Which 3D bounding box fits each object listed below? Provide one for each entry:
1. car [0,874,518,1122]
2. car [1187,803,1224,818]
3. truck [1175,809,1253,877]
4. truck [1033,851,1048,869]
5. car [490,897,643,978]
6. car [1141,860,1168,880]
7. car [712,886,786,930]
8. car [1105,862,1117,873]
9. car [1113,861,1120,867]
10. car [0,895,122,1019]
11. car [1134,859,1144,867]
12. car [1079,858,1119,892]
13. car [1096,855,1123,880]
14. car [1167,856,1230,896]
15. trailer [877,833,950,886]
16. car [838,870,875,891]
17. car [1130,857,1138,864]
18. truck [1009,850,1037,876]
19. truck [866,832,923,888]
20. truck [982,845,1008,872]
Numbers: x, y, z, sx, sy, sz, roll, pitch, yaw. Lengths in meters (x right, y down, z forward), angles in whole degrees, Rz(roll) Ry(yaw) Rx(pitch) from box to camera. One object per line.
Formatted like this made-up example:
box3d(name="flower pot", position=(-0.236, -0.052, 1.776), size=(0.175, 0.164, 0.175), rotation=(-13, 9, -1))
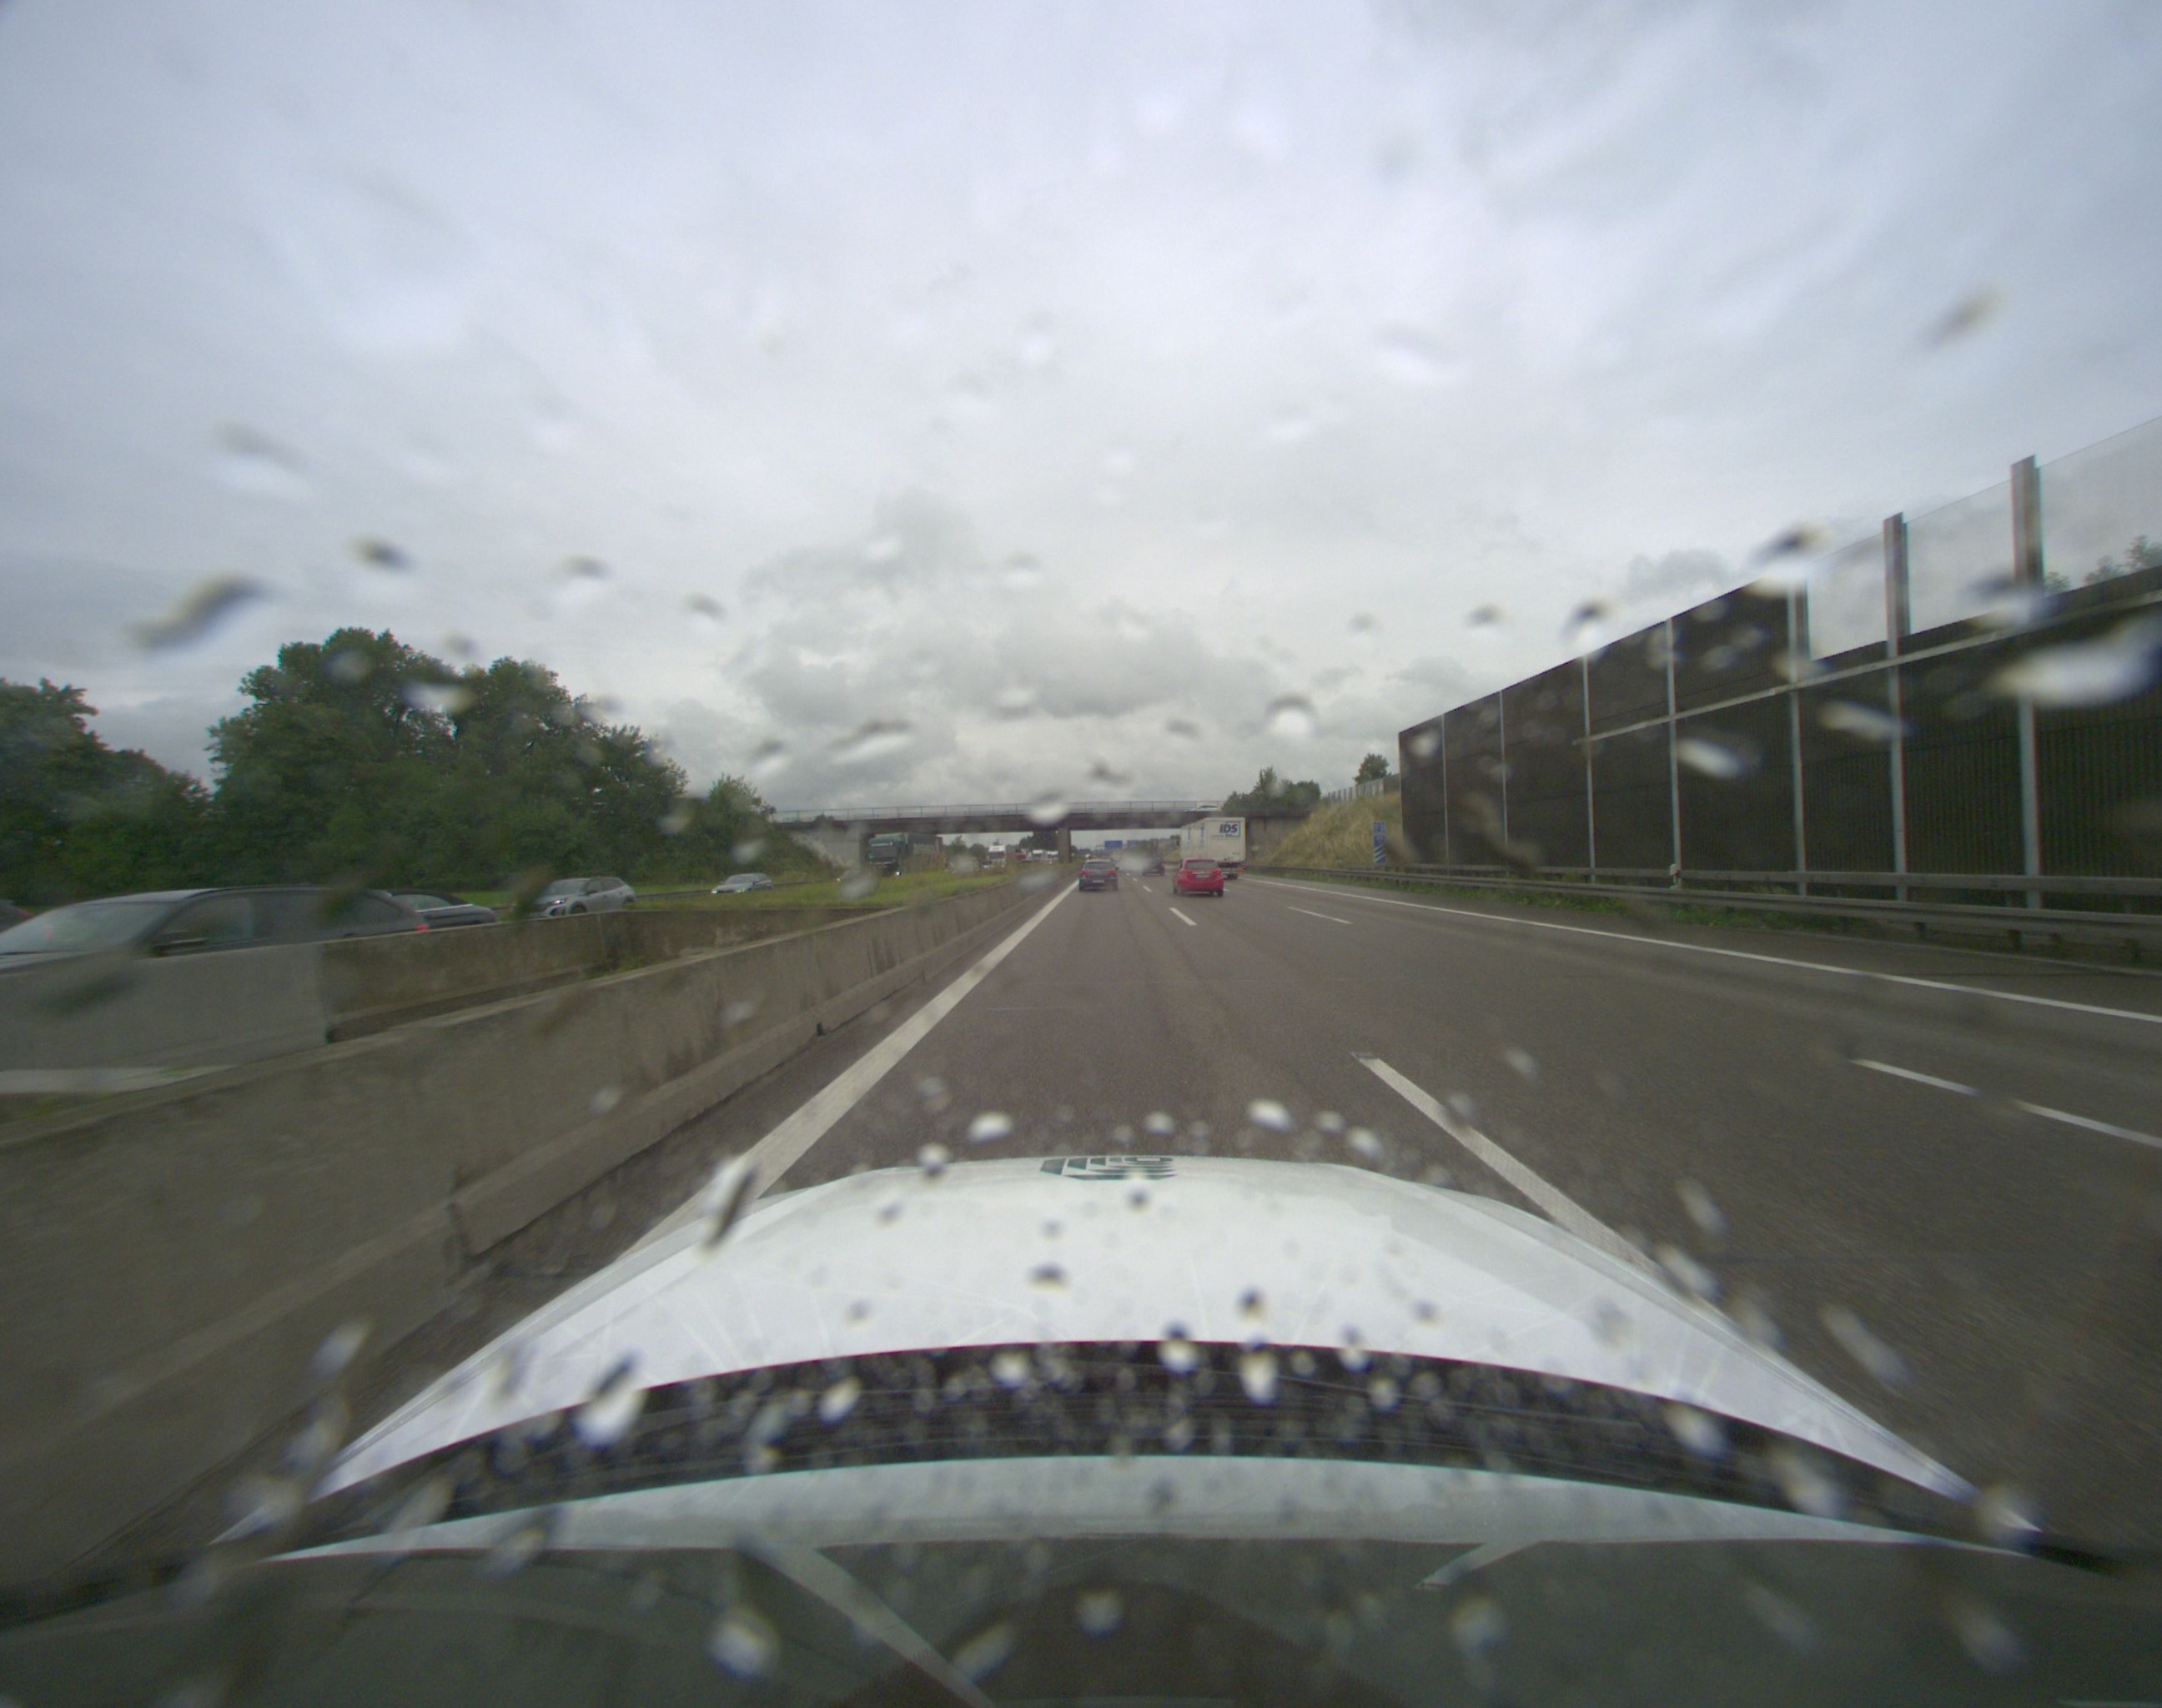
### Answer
box3d(name="car", position=(-8.167, 1.188, 8.371), size=(1.807, 1.816, 4.002), rotation=(-3, 0, 2))
box3d(name="car", position=(14.752, -5.098, 96.370), size=(3.989, 1.618, 1.872), rotation=(0, -1, -12))
box3d(name="truck", position=(9.506, -0.578, 61.101), size=(3.271, 4.295, 19.037), rotation=(0, -1, 1))
box3d(name="truck", position=(-9.963, 1.586, 200.919), size=(2.965, 4.319, 9.673), rotation=(0, -1, 2))
box3d(name="car", position=(-15.614, 2.458, 25.004), size=(1.986, 2.013, 4.002), rotation=(-3, 0, 2))
box3d(name="car", position=(5.929, 1.285, 66.499), size=(1.914, 1.522, 4.624), rotation=(-1, 0, 2))
box3d(name="car", position=(-17.726, 2.810, 43.773), size=(1.814, 1.970, 5.257), rotation=(-3, 0, -2))
box3d(name="car", position=(4.688, 2.132, 129.347), size=(1.699, 1.796, 3.854), rotation=(-3, -1, 0))
box3d(name="car", position=(11.384, 3.309, 262.221), size=(1.986, 2.014, 4.243), rotation=(0, -1, 2))
box3d(name="car", position=(-16.590, 1.525, 10.650), size=(2.085, 1.710, 4.965), rotation=(-1, 0, 3))
box3d(name="car", position=(12.112, 1.961, 169.734), size=(1.839, 1.687, 4.000), rotation=(0, -1, 1))
box3d(name="car", position=(0.821, 0.929, 37.338), size=(1.762, 1.467, 4.001), rotation=(0, -1, 1))
box3d(name="car", position=(2.312, 1.055, 66.219), size=(1.986, 1.861, 4.002), rotation=(-3, 0, 2))
box3d(name="car", position=(4.615, 0.835, 32.689), size=(1.884, 1.447, 4.685), rotation=(-1, 0, 1))
box3d(name="trailer", position=(-14.066, 0.552, 70.071), size=(2.747, 4.050, 14.524), rotation=(0, -1, 2))
box3d(name="car", position=(-18.193, 2.125, 66.191), size=(1.706, 1.553, 4.414), rotation=(-3, 0, 0))
box3d(name="car", position=(14.415, 1.832, 219.991), size=(1.986, 1.812, 4.229), rotation=(-3, 0, 2))
box3d(name="truck", position=(-11.493, 1.799, 162.429), size=(4.018, 4.944, 14.439), rotation=(0, -1, 2))
box3d(name="truck", position=(-14.344, 0.481, 63.002), size=(2.747, 4.050, 6.257), rotation=(0, -1, 2))
box3d(name="truck", position=(-13.132, 0.776, 125.045), size=(3.260, 4.045, 5.294), rotation=(0, -1, 2))
